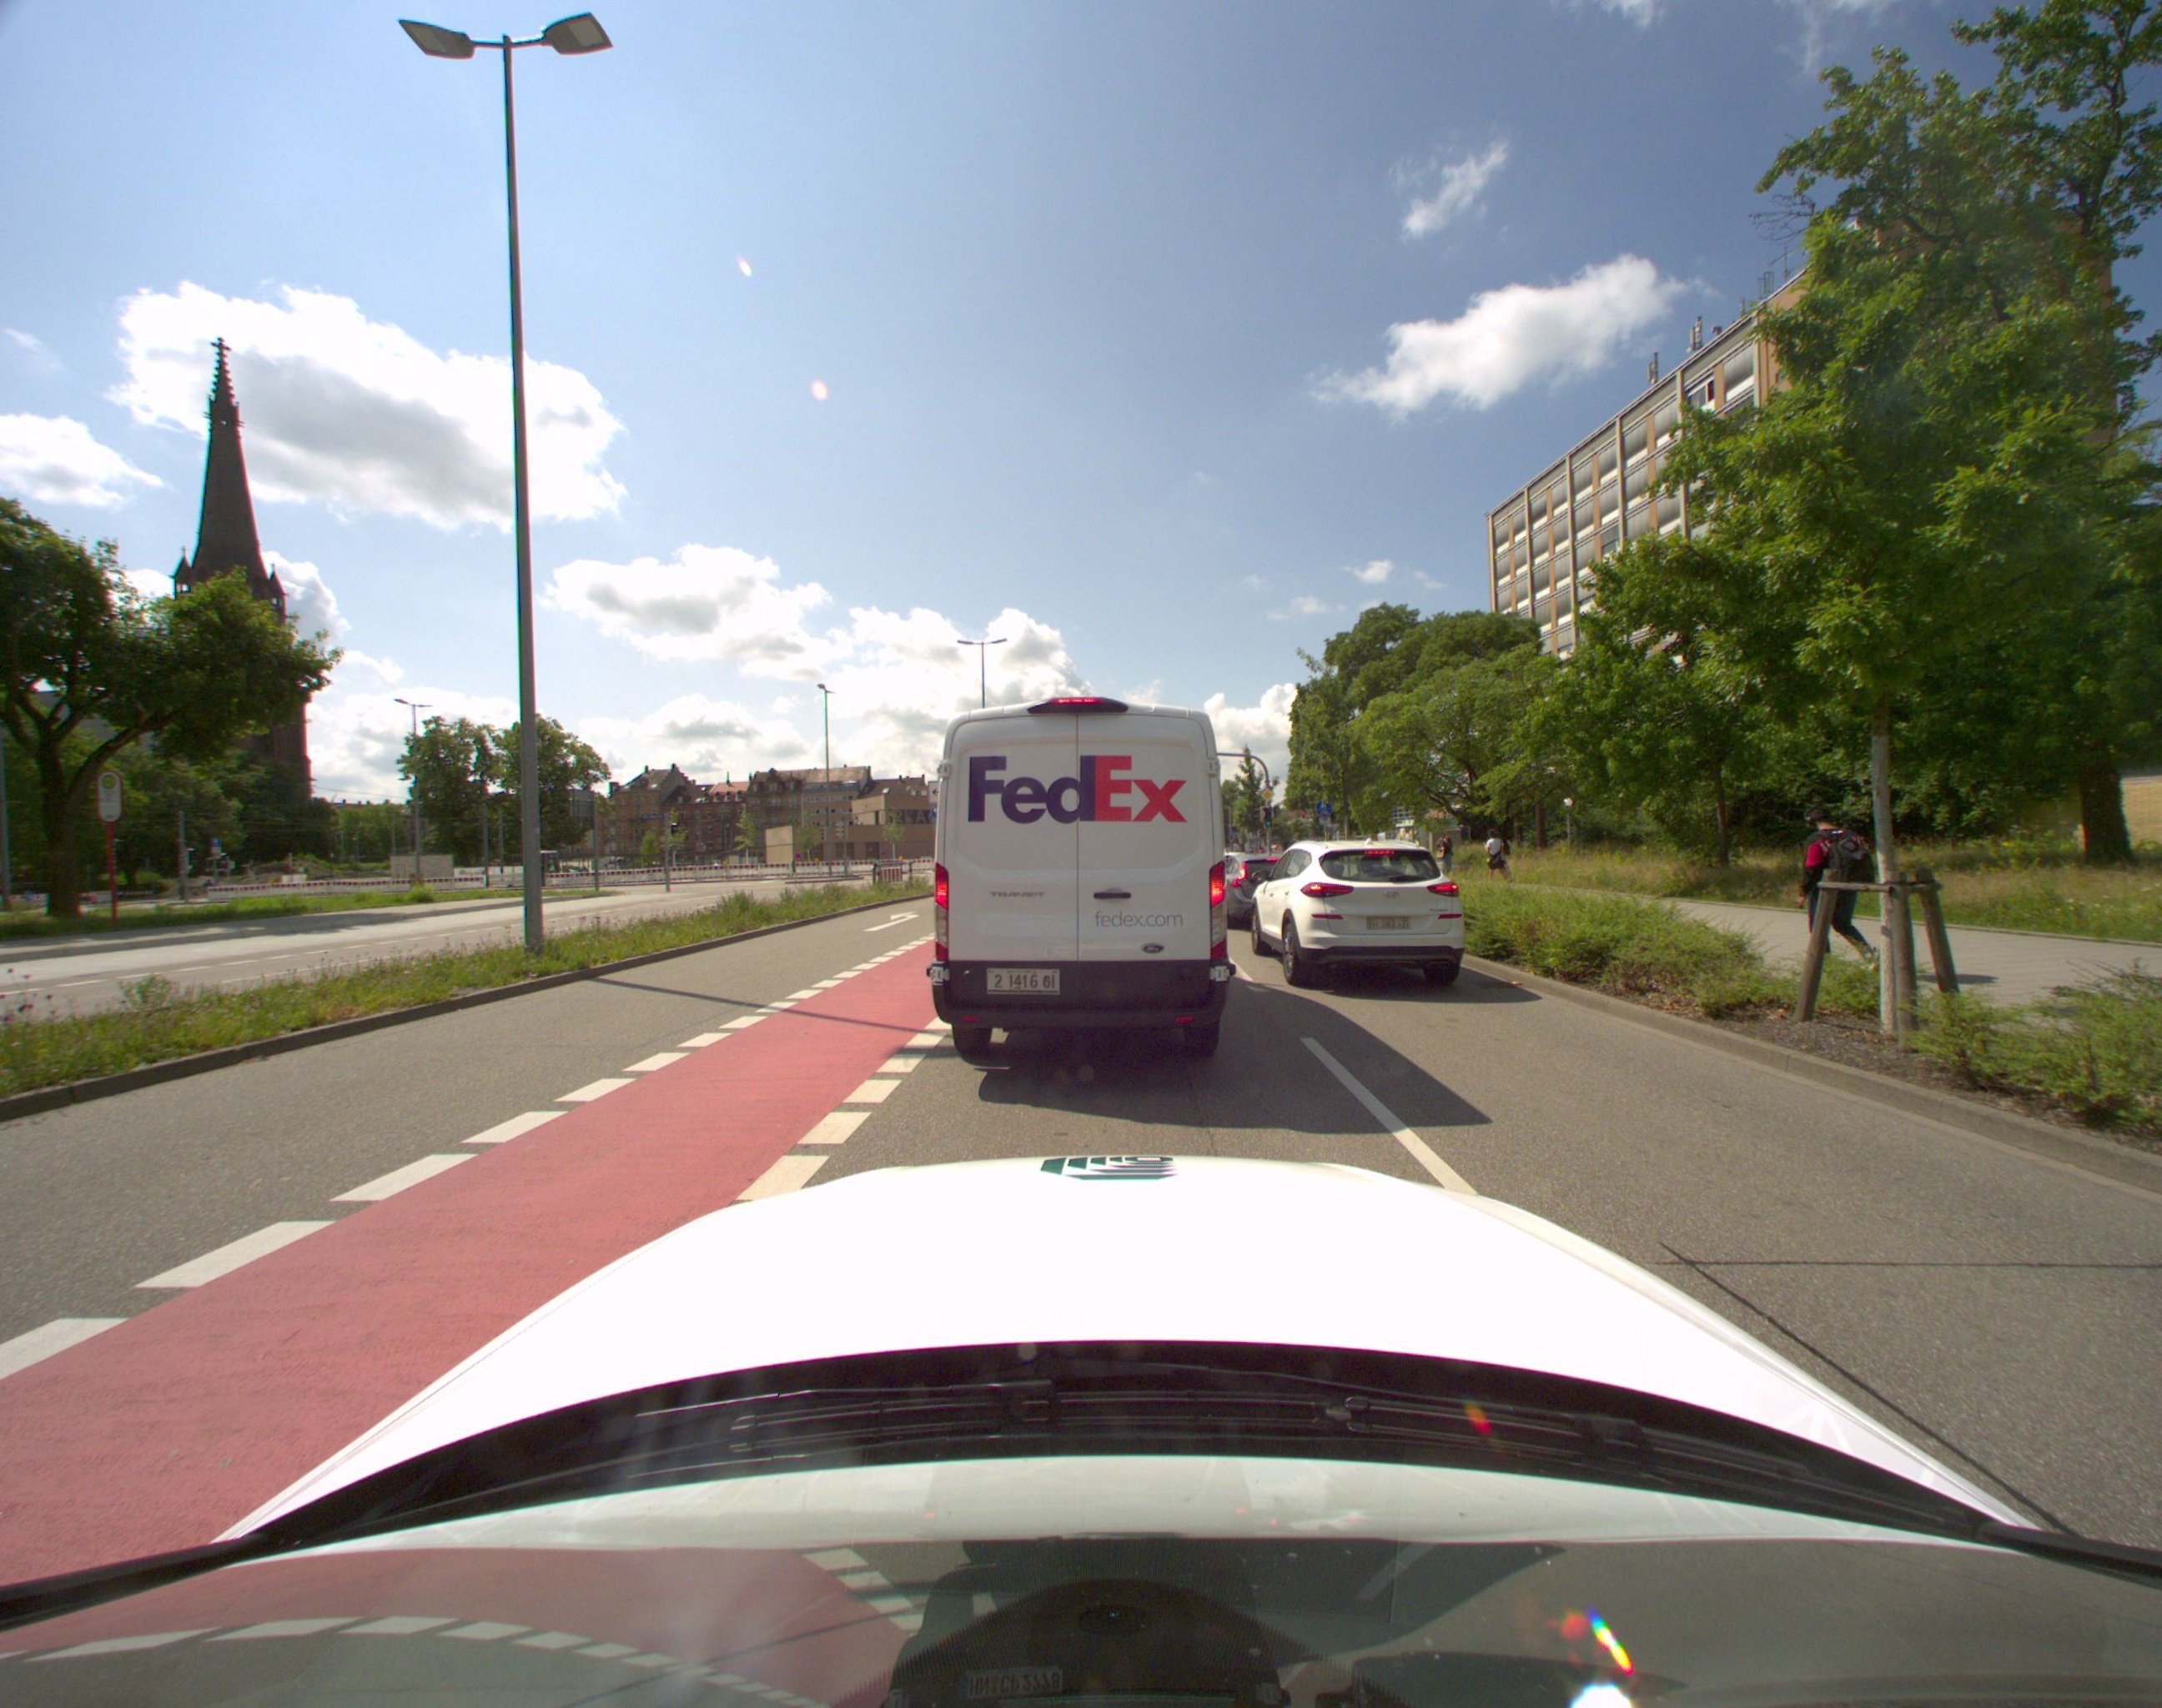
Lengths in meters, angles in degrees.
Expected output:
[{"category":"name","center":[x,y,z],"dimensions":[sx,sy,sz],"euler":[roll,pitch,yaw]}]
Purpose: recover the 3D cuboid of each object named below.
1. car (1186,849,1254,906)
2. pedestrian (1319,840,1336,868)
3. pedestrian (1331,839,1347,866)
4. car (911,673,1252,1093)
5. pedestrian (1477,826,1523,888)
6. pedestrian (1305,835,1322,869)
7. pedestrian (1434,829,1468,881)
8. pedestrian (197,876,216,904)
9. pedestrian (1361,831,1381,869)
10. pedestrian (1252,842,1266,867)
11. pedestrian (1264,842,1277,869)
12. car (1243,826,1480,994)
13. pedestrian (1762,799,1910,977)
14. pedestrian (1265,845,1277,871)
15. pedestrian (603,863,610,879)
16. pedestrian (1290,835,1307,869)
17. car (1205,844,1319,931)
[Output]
[{"category":"car","center":[3.907,0.607,23.304],"dimensions":[1.493,1.464,3.477],"euler":[-2,0,3]},{"category":"pedestrian","center":[16.896,-0.019,55.787],"dimensions":[0.758,1.849,0.814],"euler":[-2,0,-8]},{"category":"pedestrian","center":[17.731,-0.090,55.948],"dimensions":[0.758,1.849,0.814],"euler":[-2,0,-6]},{"category":"car","center":[0.130,0.175,7.322],"dimensions":[2.064,2.581,4.432],"euler":[-2,0,3]},{"category":"pedestrian","center":[10.880,0.080,21.180],"dimensions":[0.755,1.557,0.817],"euler":[-2,0,3]},{"category":"pedestrian","center":[13.049,-0.129,45.748],"dimensions":[0.755,1.849,0.817],"euler":[-2,0,5]},{"category":"pedestrian","center":[12.170,0.039,26.791],"dimensions":[0.755,1.655,0.817],"euler":[-2,0,5]},{"category":"pedestrian","center":[-64.972,2.659,60.511],"dimensions":[0.629,2.013,0.648],"euler":[-2,0,-4]},{"category":"pedestrian","center":[13.759,-0.197,38.672],"dimensions":[0.754,1.789,0.818],"euler":[-2,0,10]},{"category":"pedestrian","center":[13.071,0.021,59.780],"dimensions":[0.810,1.849,0.762],"euler":[-2,0,5]},{"category":"pedestrian","center":[13.156,0.105,56.531],"dimensions":[0.752,1.849,0.820],"euler":[-2,0,20]},{"category":"car","center":[3.271,0.564,10.346],"dimensions":[1.807,1.678,3.978],"euler":[-2,0,3]},{"category":"pedestrian","center":[7.555,0.328,8.194],"dimensions":[0.753,1.684,0.819],"euler":[-2,0,13]},{"category":"pedestrian","center":[13.719,0.316,58.875],"dimensions":[0.753,1.849,0.820],"euler":[-2,0,16]},{"category":"pedestrian","center":[-48.216,1.739,82.726],"dimensions":[0.420,1.652,0.420],"euler":[-1,-1,36]},{"category":"pedestrian","center":[12.084,-0.126,45.273],"dimensions":[0.755,1.849,0.817],"euler":[-2,0,3]},{"category":"car","center":[3.614,0.609,16.856],"dimensions":[1.684,1.549,3.724],"euler":[-2,0,3]}]
